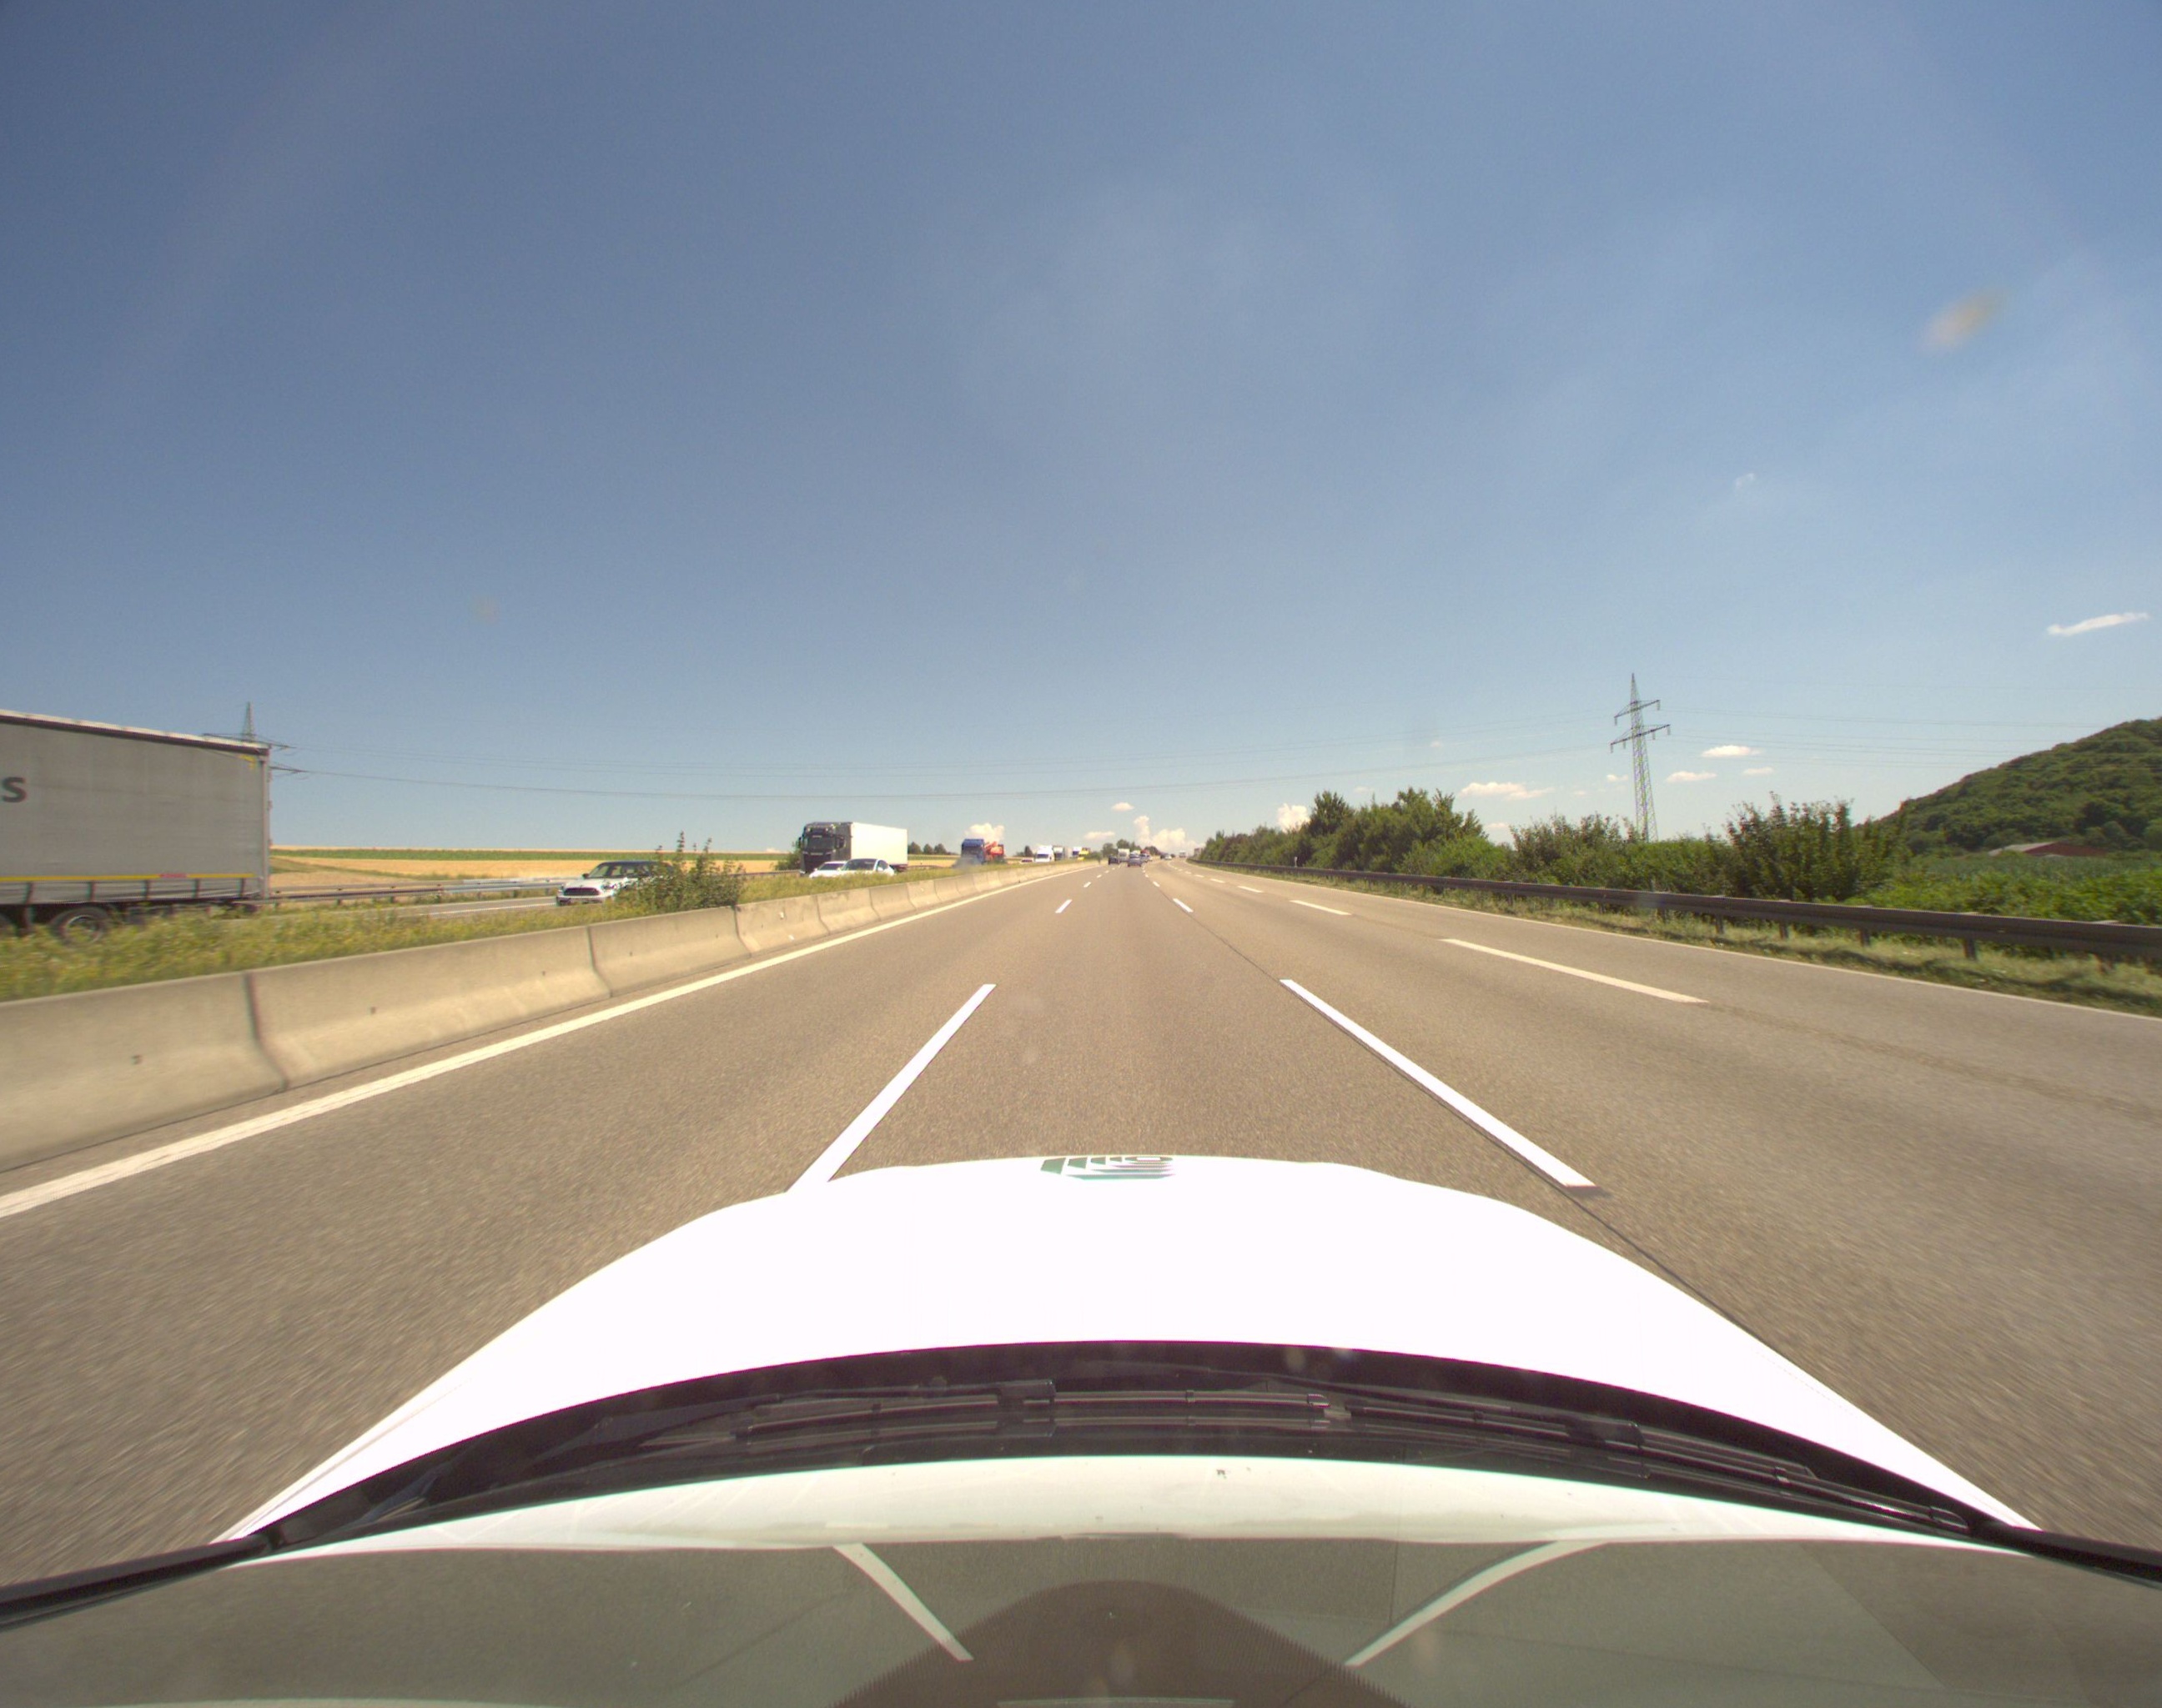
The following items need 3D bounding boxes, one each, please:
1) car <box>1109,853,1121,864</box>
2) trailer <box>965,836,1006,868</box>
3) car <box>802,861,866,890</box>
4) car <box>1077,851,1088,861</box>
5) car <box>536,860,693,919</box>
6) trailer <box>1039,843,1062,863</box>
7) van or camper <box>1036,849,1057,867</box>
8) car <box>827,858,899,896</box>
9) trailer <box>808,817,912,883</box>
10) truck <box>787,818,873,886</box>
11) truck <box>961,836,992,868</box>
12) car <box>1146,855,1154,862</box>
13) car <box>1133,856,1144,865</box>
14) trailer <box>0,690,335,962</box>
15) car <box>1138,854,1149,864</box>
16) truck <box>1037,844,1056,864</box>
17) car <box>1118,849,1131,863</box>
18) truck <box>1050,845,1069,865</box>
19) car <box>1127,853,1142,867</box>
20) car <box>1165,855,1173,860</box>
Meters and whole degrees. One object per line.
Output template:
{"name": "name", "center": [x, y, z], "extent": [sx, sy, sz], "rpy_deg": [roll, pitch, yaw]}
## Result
{"name": "car", "center": [5.851, 0.809, 141.268], "extent": [1.839, 1.861, 4.211], "rpy_deg": [-1, 1, 5]}
{"name": "trailer", "center": [-12.698, -0.203, 110.136], "extent": [2.826, 3.958, 13.744], "rpy_deg": [-1, 0, 4]}
{"name": "car", "center": [-13.248, 1.144, 43.979], "extent": [1.859, 1.456, 4.575], "rpy_deg": [-1, -1, 2]}
{"name": "car", "center": [0.462, 0.603, 218.163], "extent": [2.319, 2.558, 5.616], "rpy_deg": [-1, 1, 6]}
{"name": "car", "center": [-14.032, 1.014, 24.872], "extent": [1.986, 1.587, 4.591], "rpy_deg": [-1, -1, 2]}
{"name": "trailer", "center": [-6.390, -0.096, 174.768], "extent": [2.779, 4.105, 14.032], "rpy_deg": [-1, 0, 7]}
{"name": "van or camper", "center": [-4.832, 0.587, 114.390], "extent": [2.058, 2.464, 7.526], "rpy_deg": [-2, -1, 3]}
{"name": "car", "center": [-9.819, 0.986, 37.103], "extent": [1.872, 1.571, 4.591], "rpy_deg": [-1, 0, 2]}
{"name": "trailer", "center": [-16.286, -0.241, 61.654], "extent": [3.228, 4.387, 14.039], "rpy_deg": [-1, 0, 3]}
{"name": "truck", "center": [-16.685, -0.111, 54.737], "extent": [3.213, 4.206, 7.132], "rpy_deg": [-1, 0, 3]}
{"name": "truck", "center": [-13.189, -0.283, 103.314], "extent": [2.764, 3.938, 6.144], "rpy_deg": [-1, 0, 3]}
{"name": "car", "center": [17.117, 1.045, 202.186], "extent": [1.984, 1.552, 4.006], "rpy_deg": [1, 0, 5]}
{"name": "car", "center": [10.388, 1.244, 147.795], "extent": [1.985, 1.585, 4.002], "rpy_deg": [-2, -2, 3]}
{"name": "trailer", "center": [-18.788, -0.445, 11.162], "extent": [3.110, 4.324, 14.555], "rpy_deg": [-1, 0, 3]}
{"name": "car", "center": [12.927, 1.016, 167.987], "extent": [1.983, 1.904, 4.006], "rpy_deg": [-1, -3, 6]}
{"name": "truck", "center": [-7.113, -0.067, 168.305], "extent": [2.838, 4.027, 6.526], "rpy_deg": [-1, 0, 7]}
{"name": "car", "center": [8.653, 0.387, 162.849], "extent": [2.168, 2.625, 4.681], "rpy_deg": [-1, -3, 8]}
{"name": "truck", "center": [-4.143, 0.160, 157.969], "extent": [2.922, 3.743, 7.789], "rpy_deg": [-1, 0, 4]}
{"name": "car", "center": [7.290, 0.833, 110.615], "extent": [1.985, 1.750, 4.003], "rpy_deg": [-1, -3, 4]}
{"name": "car", "center": [24.983, 0.985, 231.822], "extent": [1.890, 1.442, 4.011], "rpy_deg": [-1, 0, 10]}
